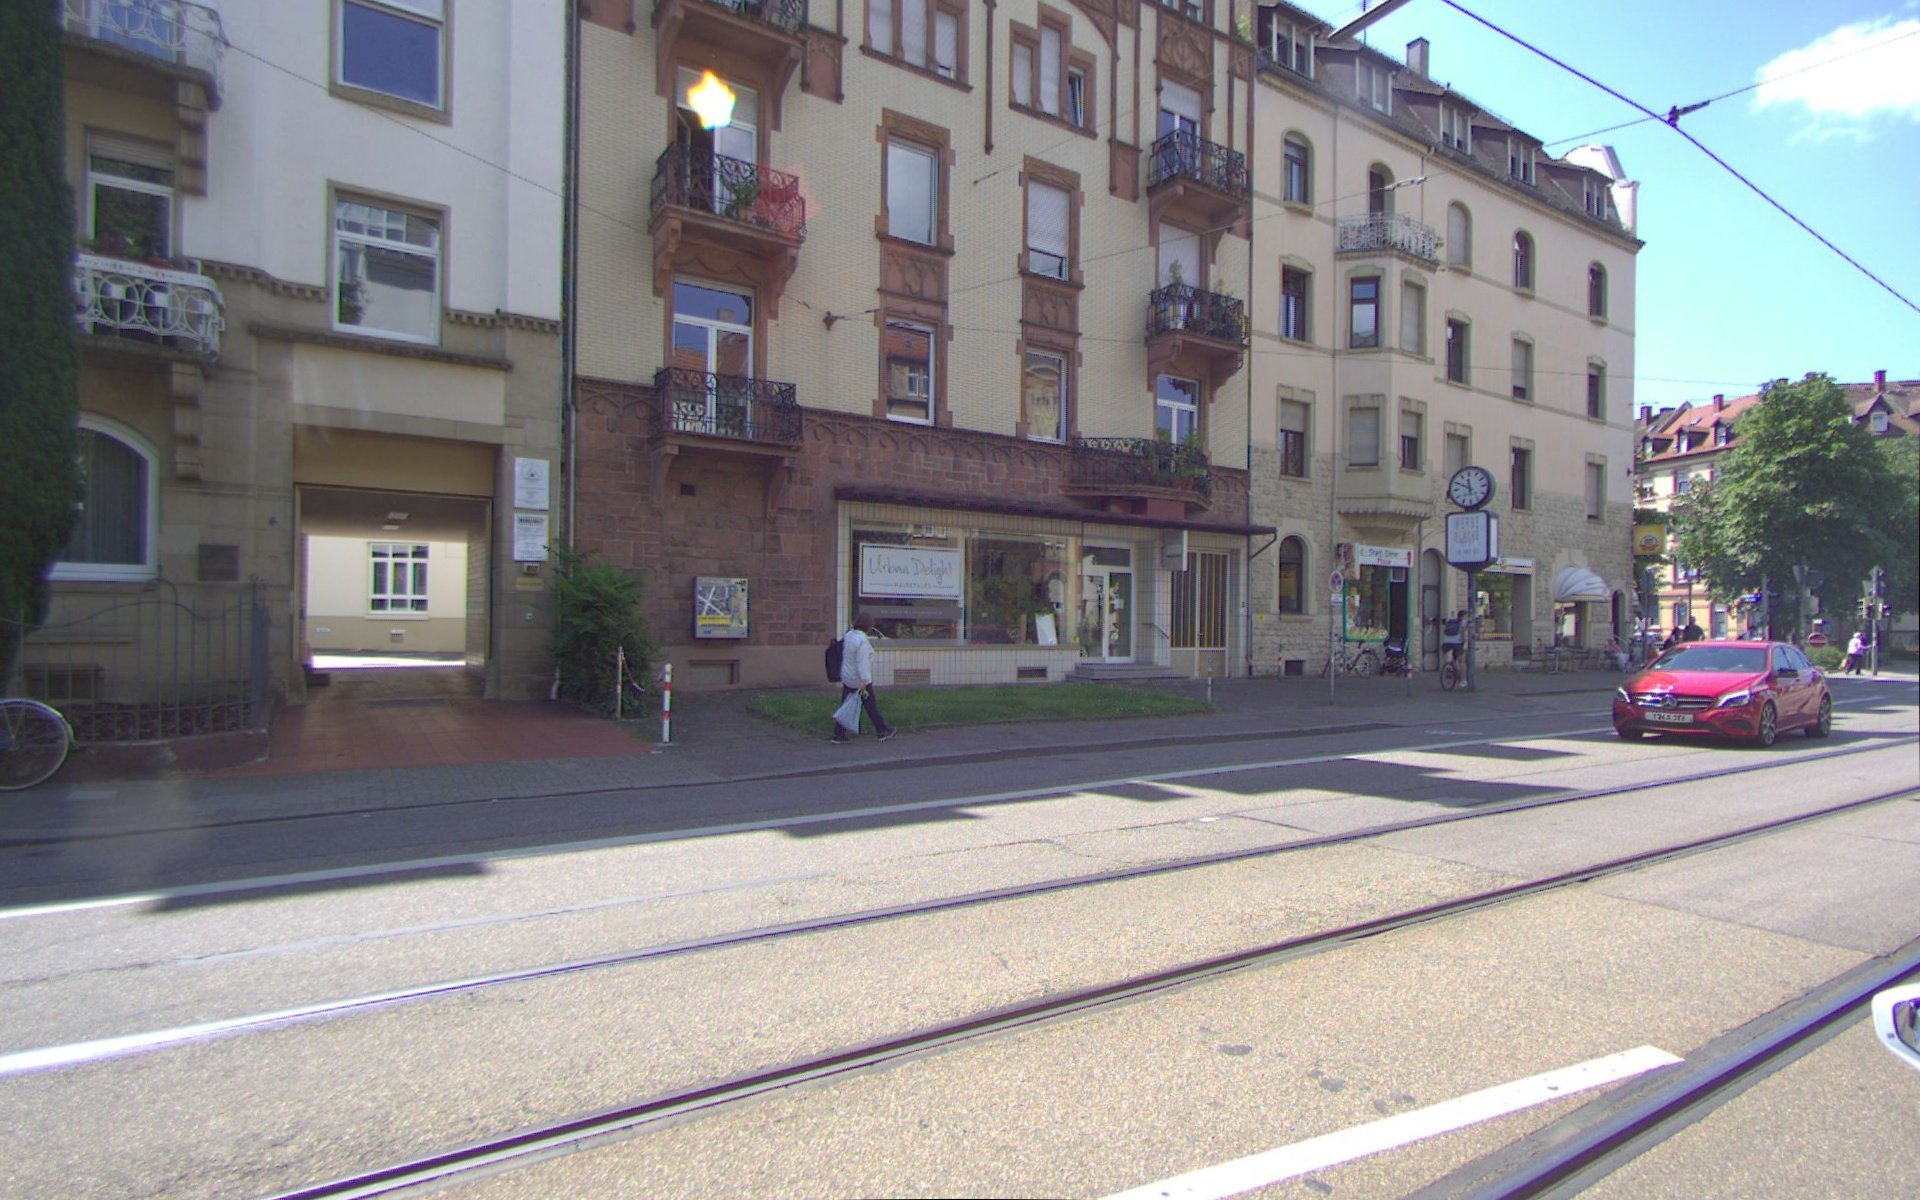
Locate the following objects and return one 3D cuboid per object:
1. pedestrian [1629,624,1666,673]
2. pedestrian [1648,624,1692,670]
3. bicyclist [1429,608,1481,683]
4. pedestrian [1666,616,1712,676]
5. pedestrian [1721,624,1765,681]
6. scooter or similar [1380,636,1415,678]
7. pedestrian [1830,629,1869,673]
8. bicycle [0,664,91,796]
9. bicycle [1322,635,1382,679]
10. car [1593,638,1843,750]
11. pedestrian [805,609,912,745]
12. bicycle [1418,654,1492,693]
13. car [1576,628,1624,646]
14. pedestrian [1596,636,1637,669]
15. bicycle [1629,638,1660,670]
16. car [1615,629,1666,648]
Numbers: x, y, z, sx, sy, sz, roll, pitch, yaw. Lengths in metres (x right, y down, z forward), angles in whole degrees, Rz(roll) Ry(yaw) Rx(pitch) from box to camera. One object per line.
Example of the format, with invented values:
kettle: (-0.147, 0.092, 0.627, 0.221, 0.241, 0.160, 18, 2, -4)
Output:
pedestrian: (23.478, 1.645, 34.305, 0.911, 1.616, 0.800, 1, -1, -38)
pedestrian: (26.082, 1.729, 36.888, 0.848, 1.657, 1.024, 1, -1, -13)
bicyclist: (11.468, 1.055, 23.285, 0.823, 1.685, 0.751, 2, 0, -35)
pedestrian: (23.867, 1.481, 32.893, 1.152, 1.916, 0.895, 1, -1, -34)
pedestrian: (24.978, 1.663, 32.058, 0.766, 1.756, 0.855, 1, 0, -31)
scooter or similar: (11.958, 1.549, 27.479, 0.682, 1.058, 1.210, 2, 0, 17)
pedestrian: (36.266, 2.074, 40.962, 0.828, 1.746, 0.914, 1, -1, -21)
bicycle: (-7.870, 0.994, 7.649, 1.822, 0.973, 0.408, 3, 1, -34)
bicycle: (10.200, 1.475, 26.124, 1.438, 1.080, 0.370, 3, 0, -10)
car: (11.351, 1.296, 14.951, 4.387, 1.432, 1.810, 2, -3, -37)
pedestrian: (-1.233, 0.897, 12.172, 0.975, 1.563, 0.895, 1, -1, -36)
bicycle: (11.477, 1.677, 23.271, 1.802, 0.828, 0.747, 2, -1, -35)
car: (55.806, 3.208, 87.653, 1.654, 1.491, 3.467, 1, -1, -8)
pedestrian: (22.490, 1.794, 34.408, 0.873, 1.092, 0.911, 1, -1, -32)
bicycle: (25.077, 1.988, 36.841, 0.534, 1.143, 1.683, 1, -3, 20)
car: (56.714, 3.218, 83.817, 1.654, 1.491, 3.467, 1, -1, -8)
